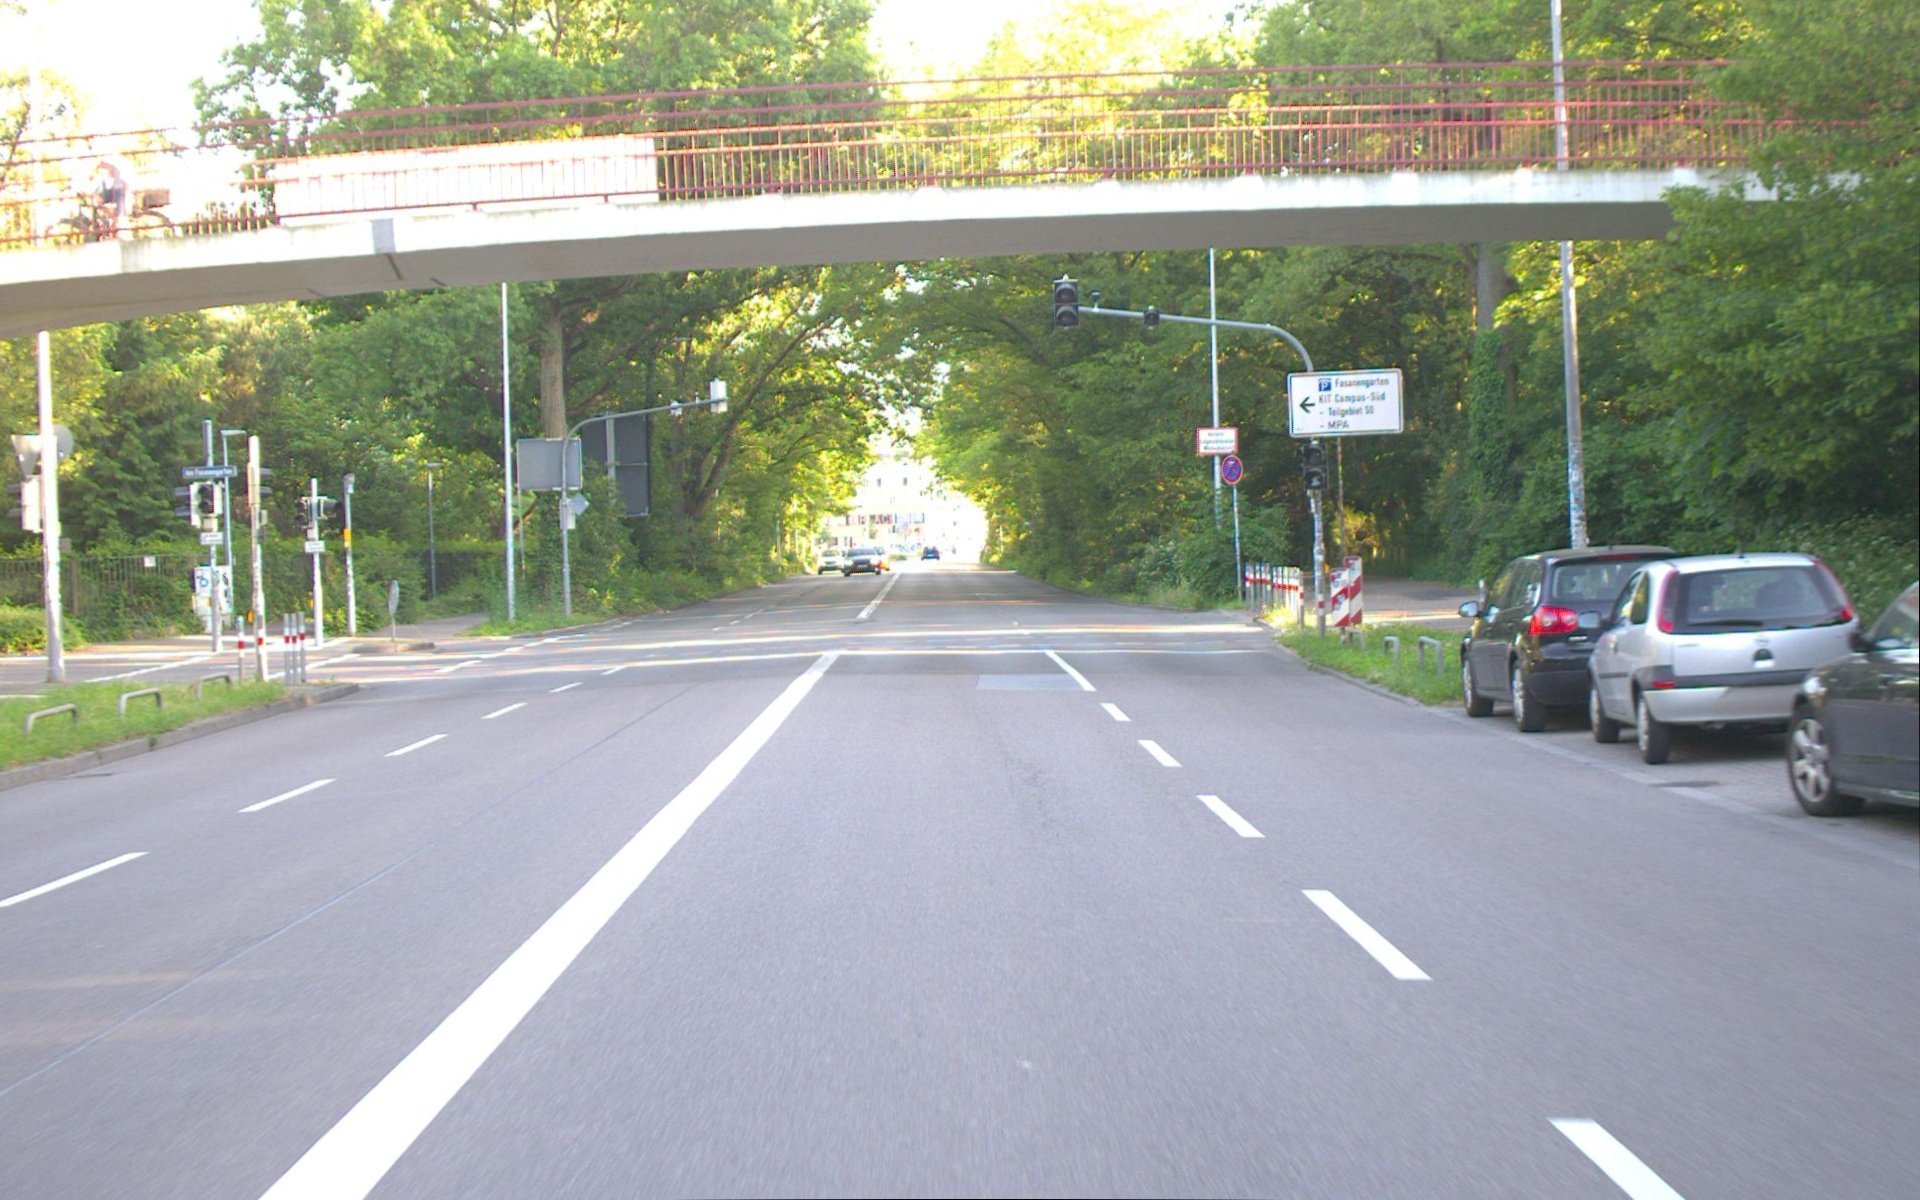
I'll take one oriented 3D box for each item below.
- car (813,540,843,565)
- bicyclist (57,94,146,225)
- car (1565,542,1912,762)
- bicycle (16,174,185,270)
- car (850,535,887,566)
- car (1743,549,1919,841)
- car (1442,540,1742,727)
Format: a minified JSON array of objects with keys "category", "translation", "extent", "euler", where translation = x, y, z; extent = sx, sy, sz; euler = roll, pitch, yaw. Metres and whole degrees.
[{"category":"car","translation":[-8.423,-3.027,218.845],"extent":[1.797,1.501,4.364],"euler":[-2,1,-1]},{"category":"bicyclist","translation":[-10.970,-5.629,43.958],"extent":[0.970,1.580,0.714],"euler":[0,0,-2]},{"category":"car","translation":[5.691,0.330,25.580],"extent":[1.774,1.449,4.014],"euler":[-2,1,2]},{"category":"bicycle","translation":[-10.977,-4.831,43.957],"extent":[1.987,1.143,0.714],"euler":[0,0,-2]},{"category":"car","translation":[-4.818,-2.605,181.138],"extent":[1.887,1.501,4.364],"euler":[-2,1,-1]},{"category":"car","translation":[5.685,0.452,18.090],"extent":[1.774,1.449,5.038],"euler":[-2,1,-2]},{"category":"car","translation":[5.416,0.245,29.989],"extent":[1.774,1.449,4.388],"euler":[-2,1,0]}]
